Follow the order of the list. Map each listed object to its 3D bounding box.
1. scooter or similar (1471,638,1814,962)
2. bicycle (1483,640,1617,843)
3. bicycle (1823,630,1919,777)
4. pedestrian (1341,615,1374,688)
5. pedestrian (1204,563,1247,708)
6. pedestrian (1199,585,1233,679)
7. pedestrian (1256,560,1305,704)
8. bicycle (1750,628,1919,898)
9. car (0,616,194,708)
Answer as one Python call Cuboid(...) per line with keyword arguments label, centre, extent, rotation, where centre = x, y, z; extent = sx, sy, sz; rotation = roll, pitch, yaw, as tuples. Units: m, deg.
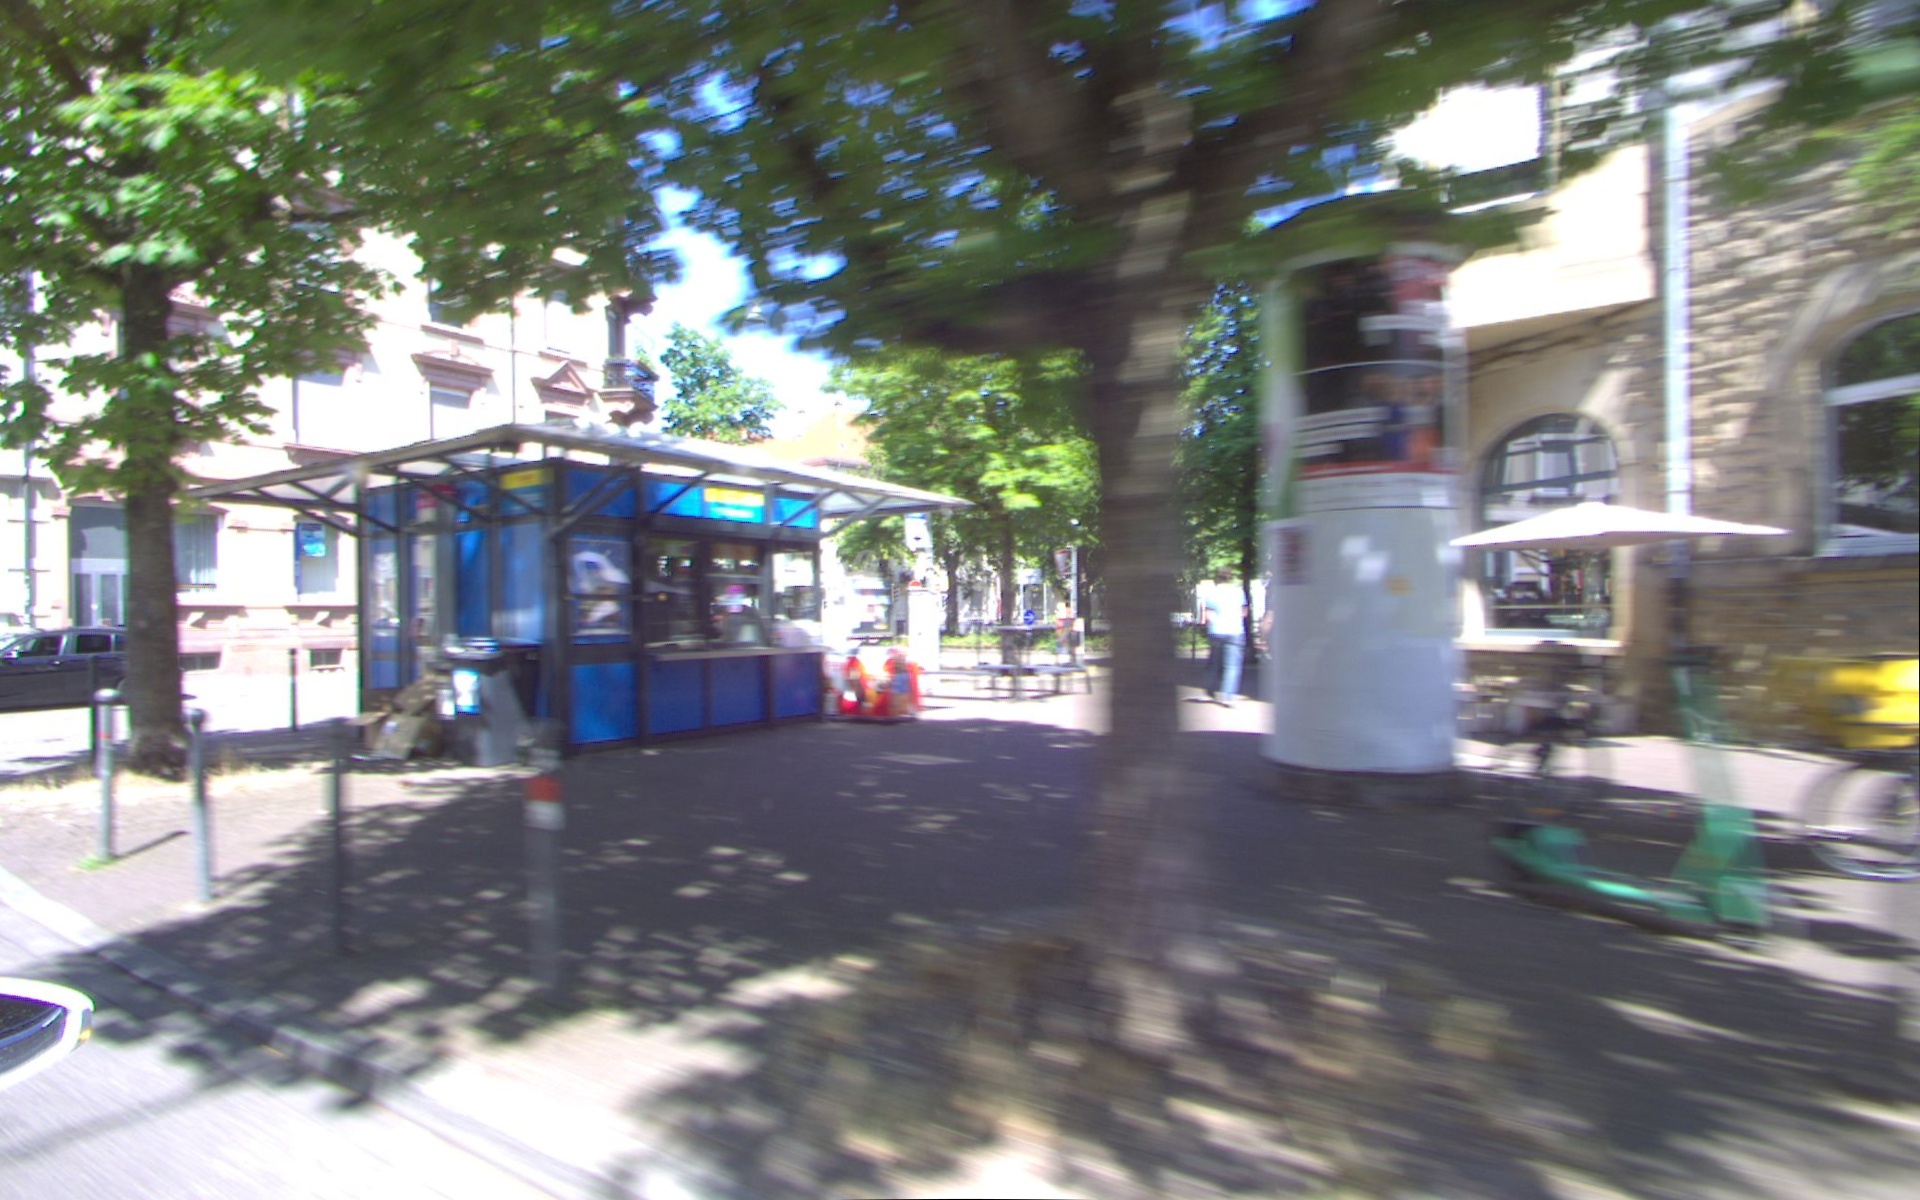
Cuboid(label="scooter or similar", centre=(2.844, 0.757, 4.294), extent=(0.436, 1.151, 1.182), rotation=(-1, 0, -19))
Cuboid(label="bicycle", centre=(3.900, 0.828, 6.551), extent=(0.625, 1.053, 1.895), rotation=(-1, 0, 34))
Cuboid(label="bicycle", centre=(7.390, 0.764, 7.132), extent=(0.540, 1.053, 1.831), rotation=(-1, 0, -23))
Cuboid(label="pedestrian", centre=(6.681, 0.857, 16.823), extent=(0.408, 1.198, 0.442), rotation=(-1, 1, 35))
Cuboid(label="pedestrian", centre=(3.554, 0.468, 13.431), extent=(0.510, 1.893, 0.653), rotation=(-1, 0, 14))
Cuboid(label="pedestrian", centre=(5.066, 0.630, 19.784), extent=(0.594, 1.836, 0.587), rotation=(-1, 0, 18))
Cuboid(label="pedestrian", centre=(4.408, 0.437, 13.778), extent=(0.590, 1.904, 0.881), rotation=(-1, 0, 18))
Cuboid(label="bicycle", centre=(5.256, 0.725, 4.501), extent=(2.535, 1.184, 0.794), rotation=(-1, 0, 23))
Cuboid(label="car", centre=(-16.128, 1.042, 17.286), extent=(1.781, 1.389, 4.283), rotation=(2, 1, 33))
